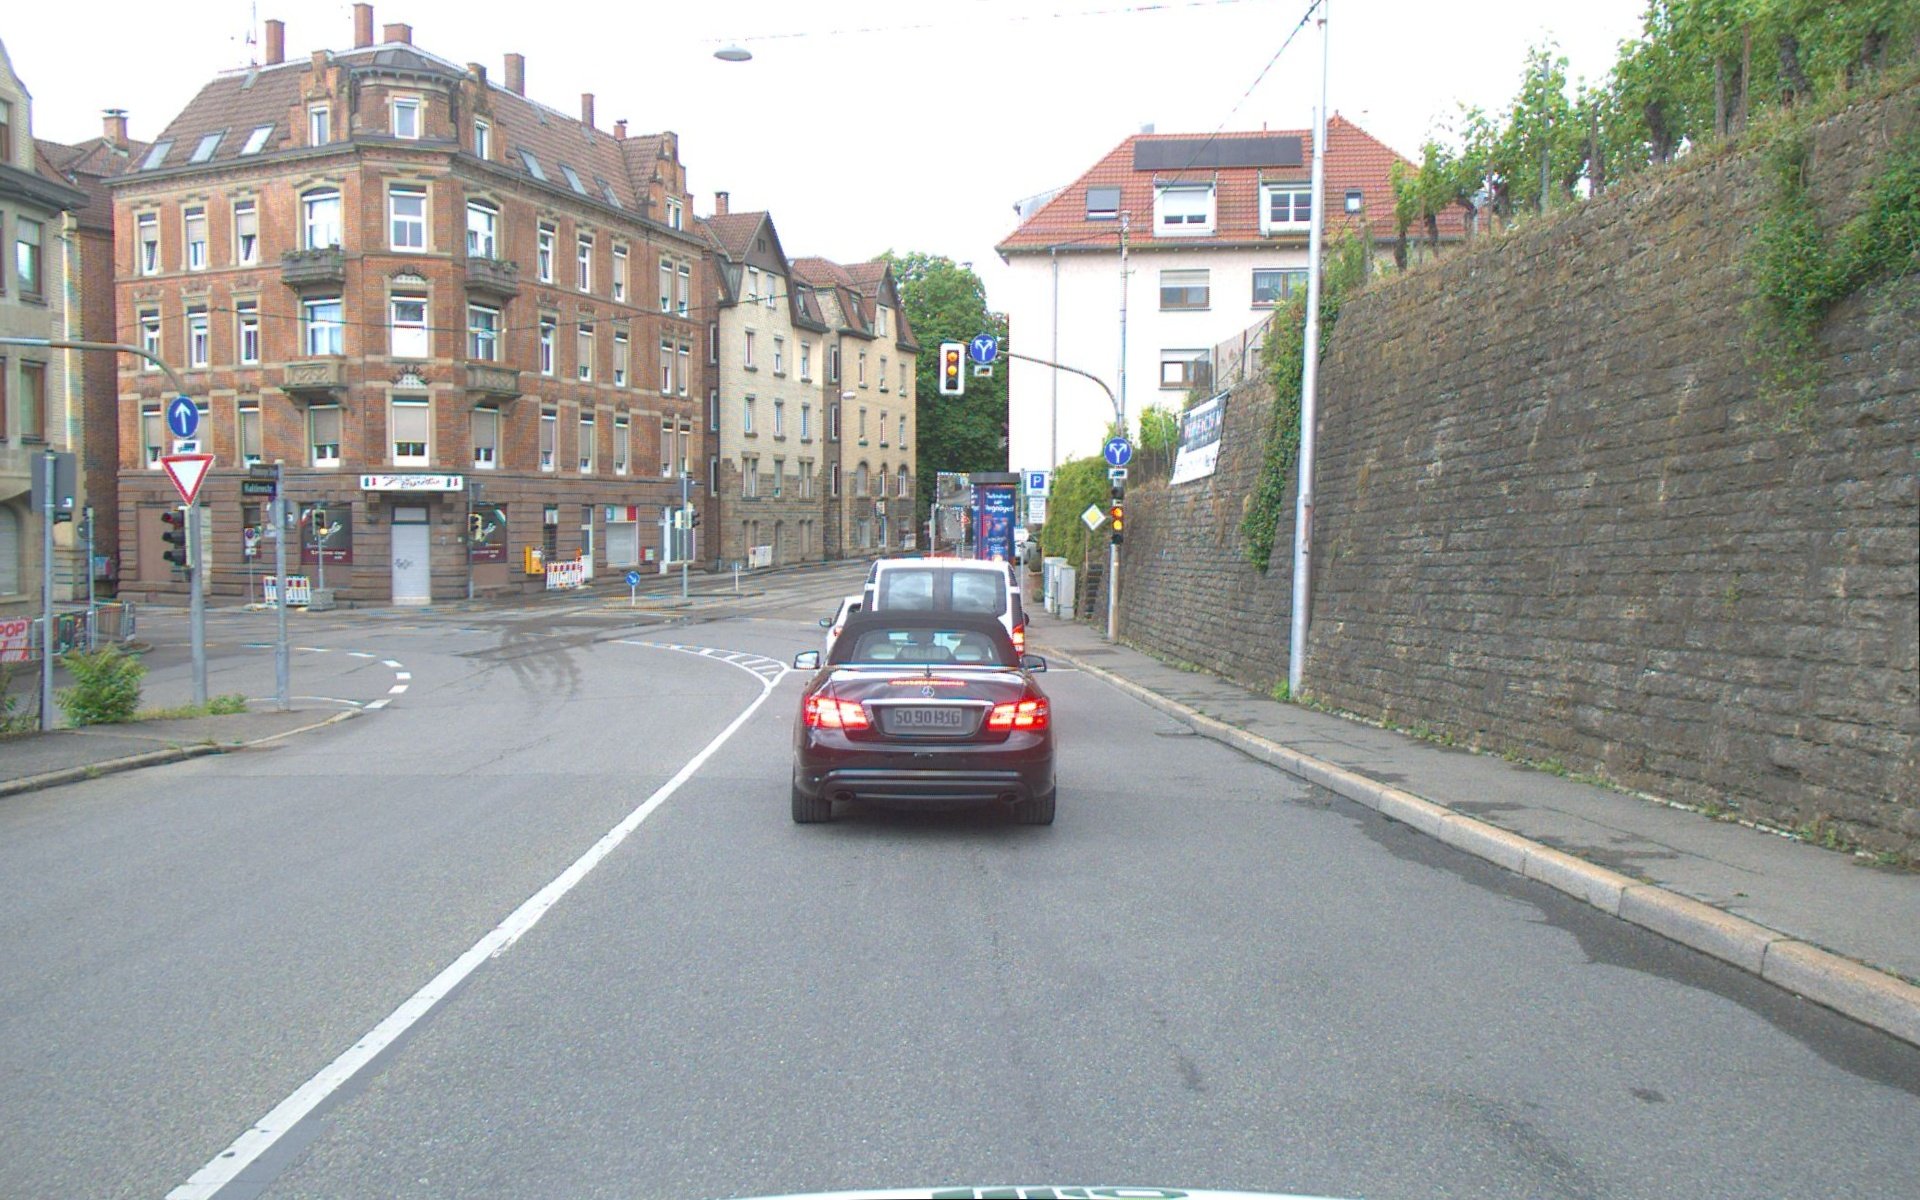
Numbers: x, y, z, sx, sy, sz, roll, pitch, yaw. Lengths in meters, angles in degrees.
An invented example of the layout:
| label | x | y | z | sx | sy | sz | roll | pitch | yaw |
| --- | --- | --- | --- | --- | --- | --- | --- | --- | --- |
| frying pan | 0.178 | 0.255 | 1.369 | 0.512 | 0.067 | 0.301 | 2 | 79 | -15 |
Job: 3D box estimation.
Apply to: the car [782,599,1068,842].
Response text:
| label | x | y | z | sx | sy | sz | roll | pitch | yaw |
| --- | --- | --- | --- | --- | --- | --- | --- | --- | --- |
| car | -0.246 | 0.727 | 12.199 | 1.726 | 1.434 | 4.398 | 0 | 0 | -1 |

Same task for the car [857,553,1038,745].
| label | x | y | z | sx | sy | sz | roll | pitch | yaw |
| --- | --- | --- | --- | --- | --- | --- | --- | --- | --- |
| car | -0.168 | 0.479 | 19.303 | 1.853 | 1.962 | 4.644 | 0 | 0 | -1 |

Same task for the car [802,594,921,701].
| label | x | y | z | sx | sy | sz | roll | pitch | yaw |
| --- | --- | --- | --- | --- | --- | --- | --- | --- | --- |
| car | -1.447 | 0.665 | 25.452 | 1.647 | 1.491 | 3.918 | 0 | 0 | -1 |

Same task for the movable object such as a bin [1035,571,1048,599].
| label | x | y | z | sx | sy | sz | roll | pitch | yaw |
| --- | --- | --- | --- | --- | --- | --- | --- | --- | --- |
| movable object such as a bin | 2.716 | -0.514 | 55.174 | 0.337 | 0.927 | 0.494 | 0 | 1 | -7 |
